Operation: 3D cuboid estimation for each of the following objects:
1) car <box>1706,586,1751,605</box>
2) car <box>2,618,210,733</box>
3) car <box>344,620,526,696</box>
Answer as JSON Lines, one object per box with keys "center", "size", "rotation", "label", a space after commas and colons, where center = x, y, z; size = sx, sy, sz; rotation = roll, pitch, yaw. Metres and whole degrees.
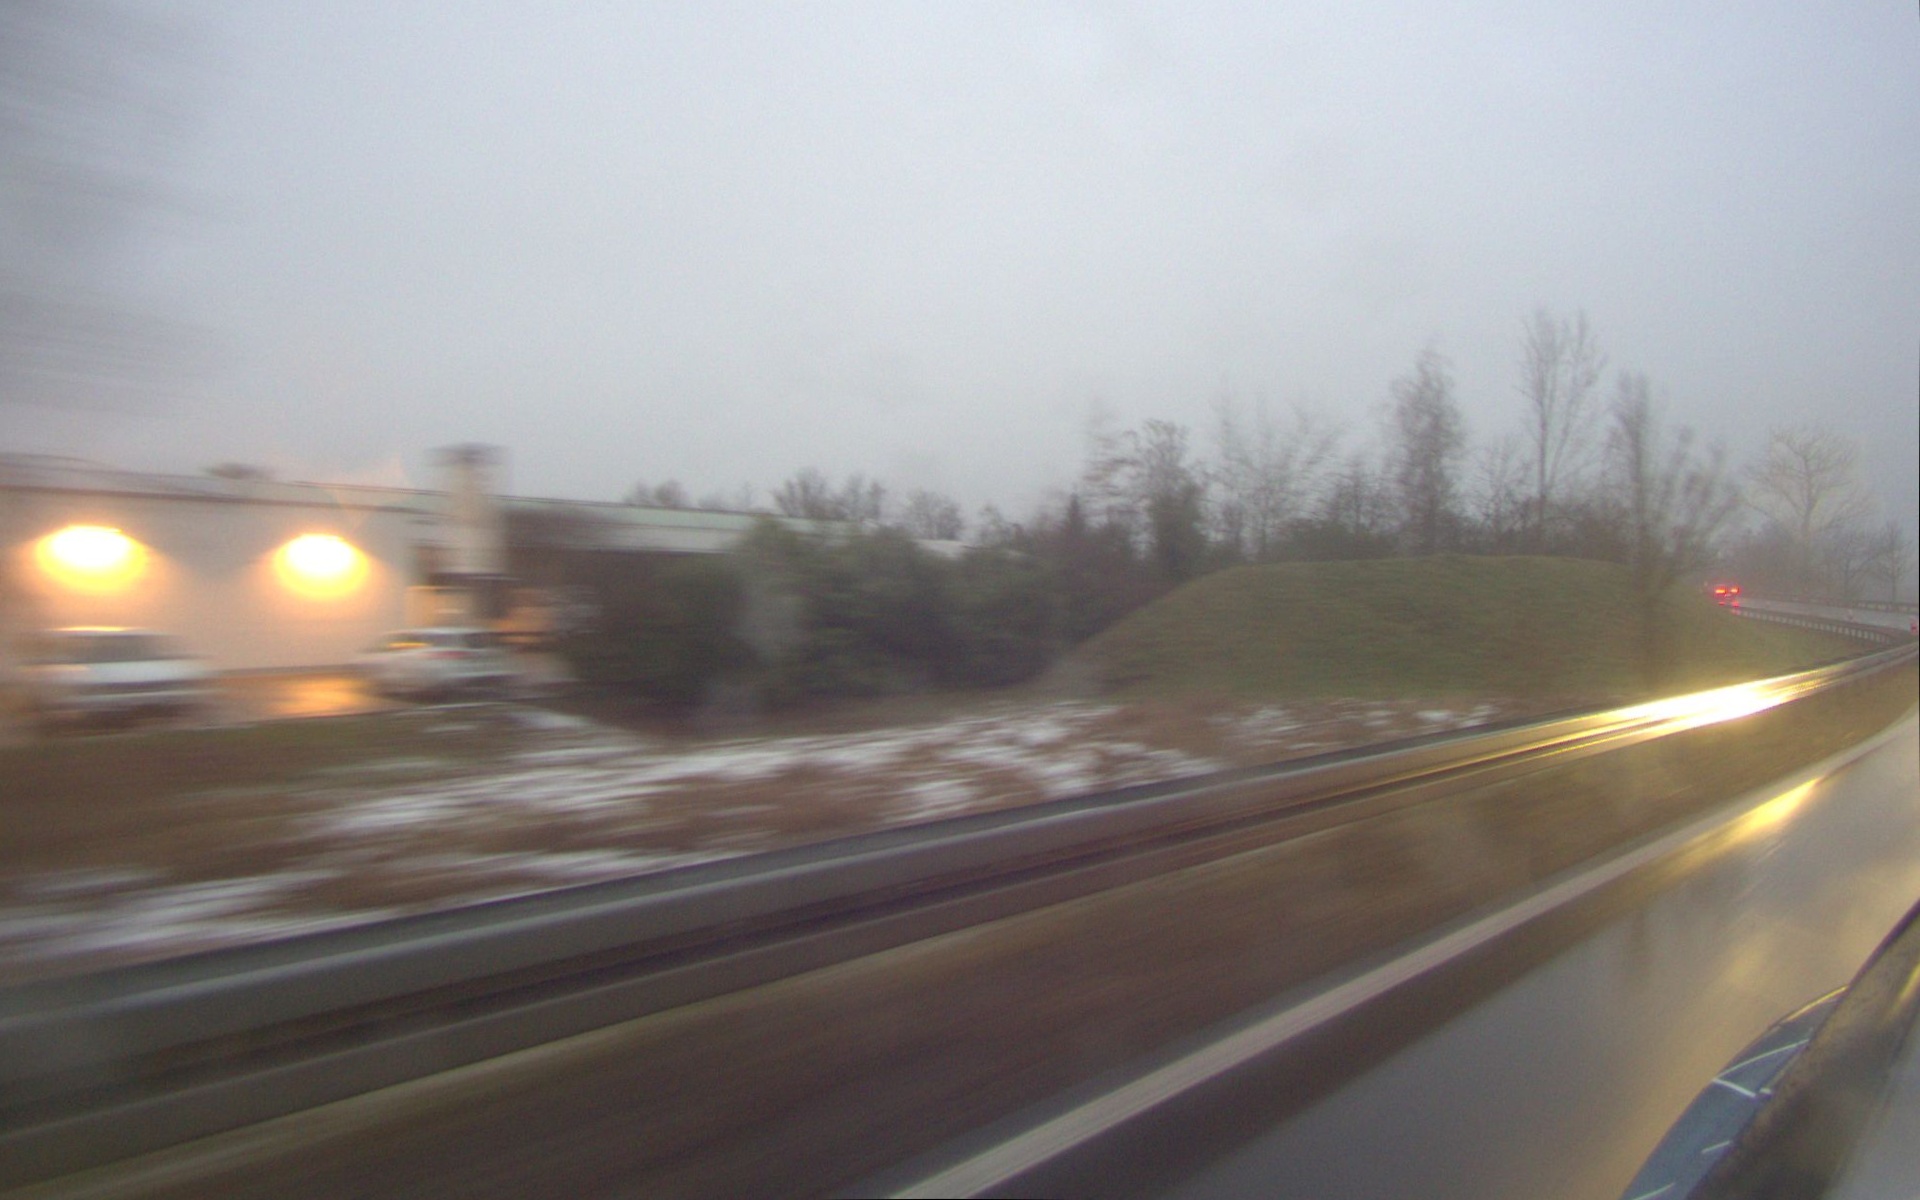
{"center": [74.698, -0.418, 98.471], "size": [1.974, 1.642, 4.569], "rotation": [-5, -2, 19], "label": "car"}
{"center": [-15.007, 1.202, 17.706], "size": [4.382, 1.737, 1.972], "rotation": [-1, -1, 39], "label": "car"}
{"center": [-11.782, 1.236, 22.634], "size": [4.165, 1.537, 1.974], "rotation": [-1, -2, 36], "label": "car"}
